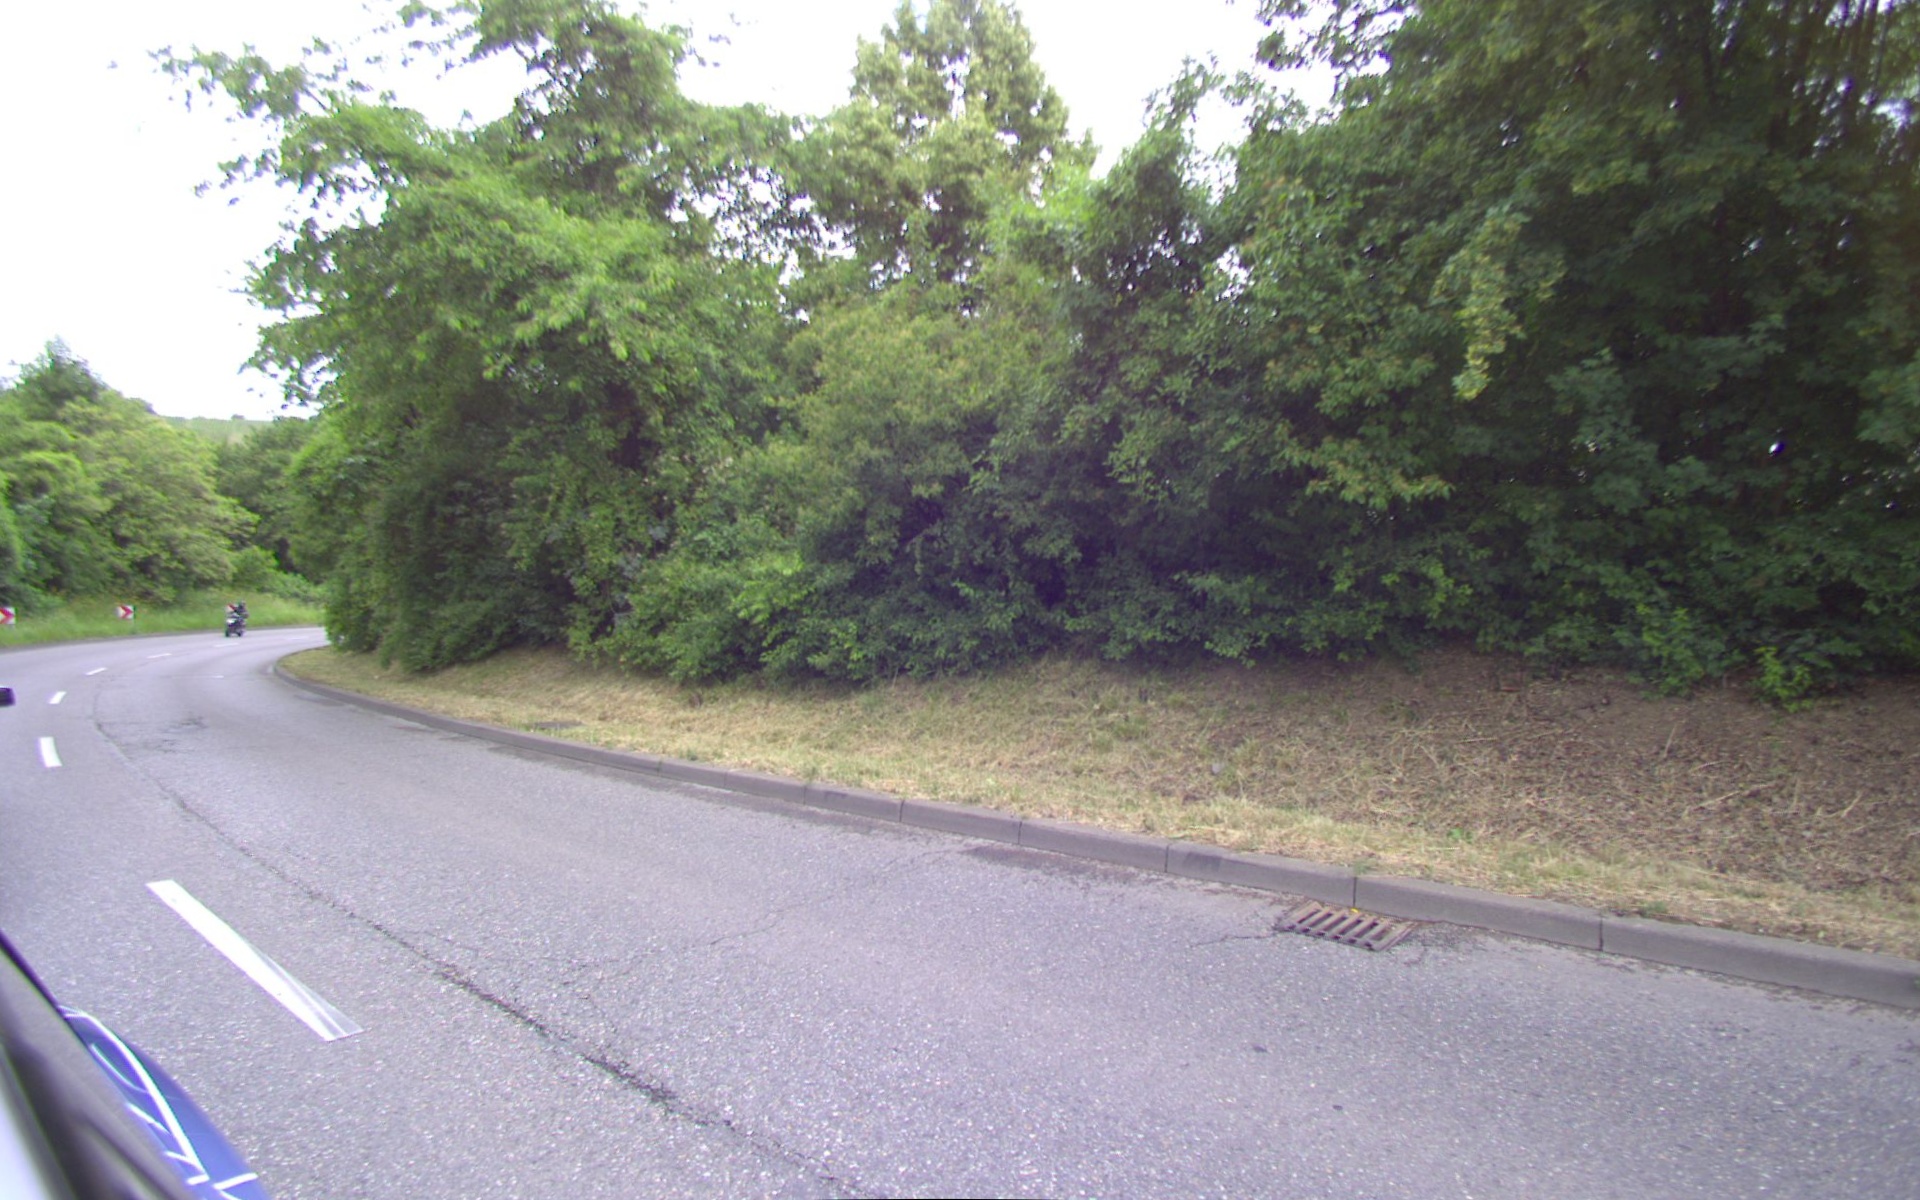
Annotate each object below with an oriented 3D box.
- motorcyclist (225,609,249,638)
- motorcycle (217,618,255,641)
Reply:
[{"bbox_3d":[-33.574,1.082,47.018,0.558,1.304,0.708,3,-1,-7],"label":"motorcyclist"},{"bbox_3d":[-33.576,1.370,46.944,0.668,1.019,1.678,3,-1,-7],"label":"motorcycle"}]
